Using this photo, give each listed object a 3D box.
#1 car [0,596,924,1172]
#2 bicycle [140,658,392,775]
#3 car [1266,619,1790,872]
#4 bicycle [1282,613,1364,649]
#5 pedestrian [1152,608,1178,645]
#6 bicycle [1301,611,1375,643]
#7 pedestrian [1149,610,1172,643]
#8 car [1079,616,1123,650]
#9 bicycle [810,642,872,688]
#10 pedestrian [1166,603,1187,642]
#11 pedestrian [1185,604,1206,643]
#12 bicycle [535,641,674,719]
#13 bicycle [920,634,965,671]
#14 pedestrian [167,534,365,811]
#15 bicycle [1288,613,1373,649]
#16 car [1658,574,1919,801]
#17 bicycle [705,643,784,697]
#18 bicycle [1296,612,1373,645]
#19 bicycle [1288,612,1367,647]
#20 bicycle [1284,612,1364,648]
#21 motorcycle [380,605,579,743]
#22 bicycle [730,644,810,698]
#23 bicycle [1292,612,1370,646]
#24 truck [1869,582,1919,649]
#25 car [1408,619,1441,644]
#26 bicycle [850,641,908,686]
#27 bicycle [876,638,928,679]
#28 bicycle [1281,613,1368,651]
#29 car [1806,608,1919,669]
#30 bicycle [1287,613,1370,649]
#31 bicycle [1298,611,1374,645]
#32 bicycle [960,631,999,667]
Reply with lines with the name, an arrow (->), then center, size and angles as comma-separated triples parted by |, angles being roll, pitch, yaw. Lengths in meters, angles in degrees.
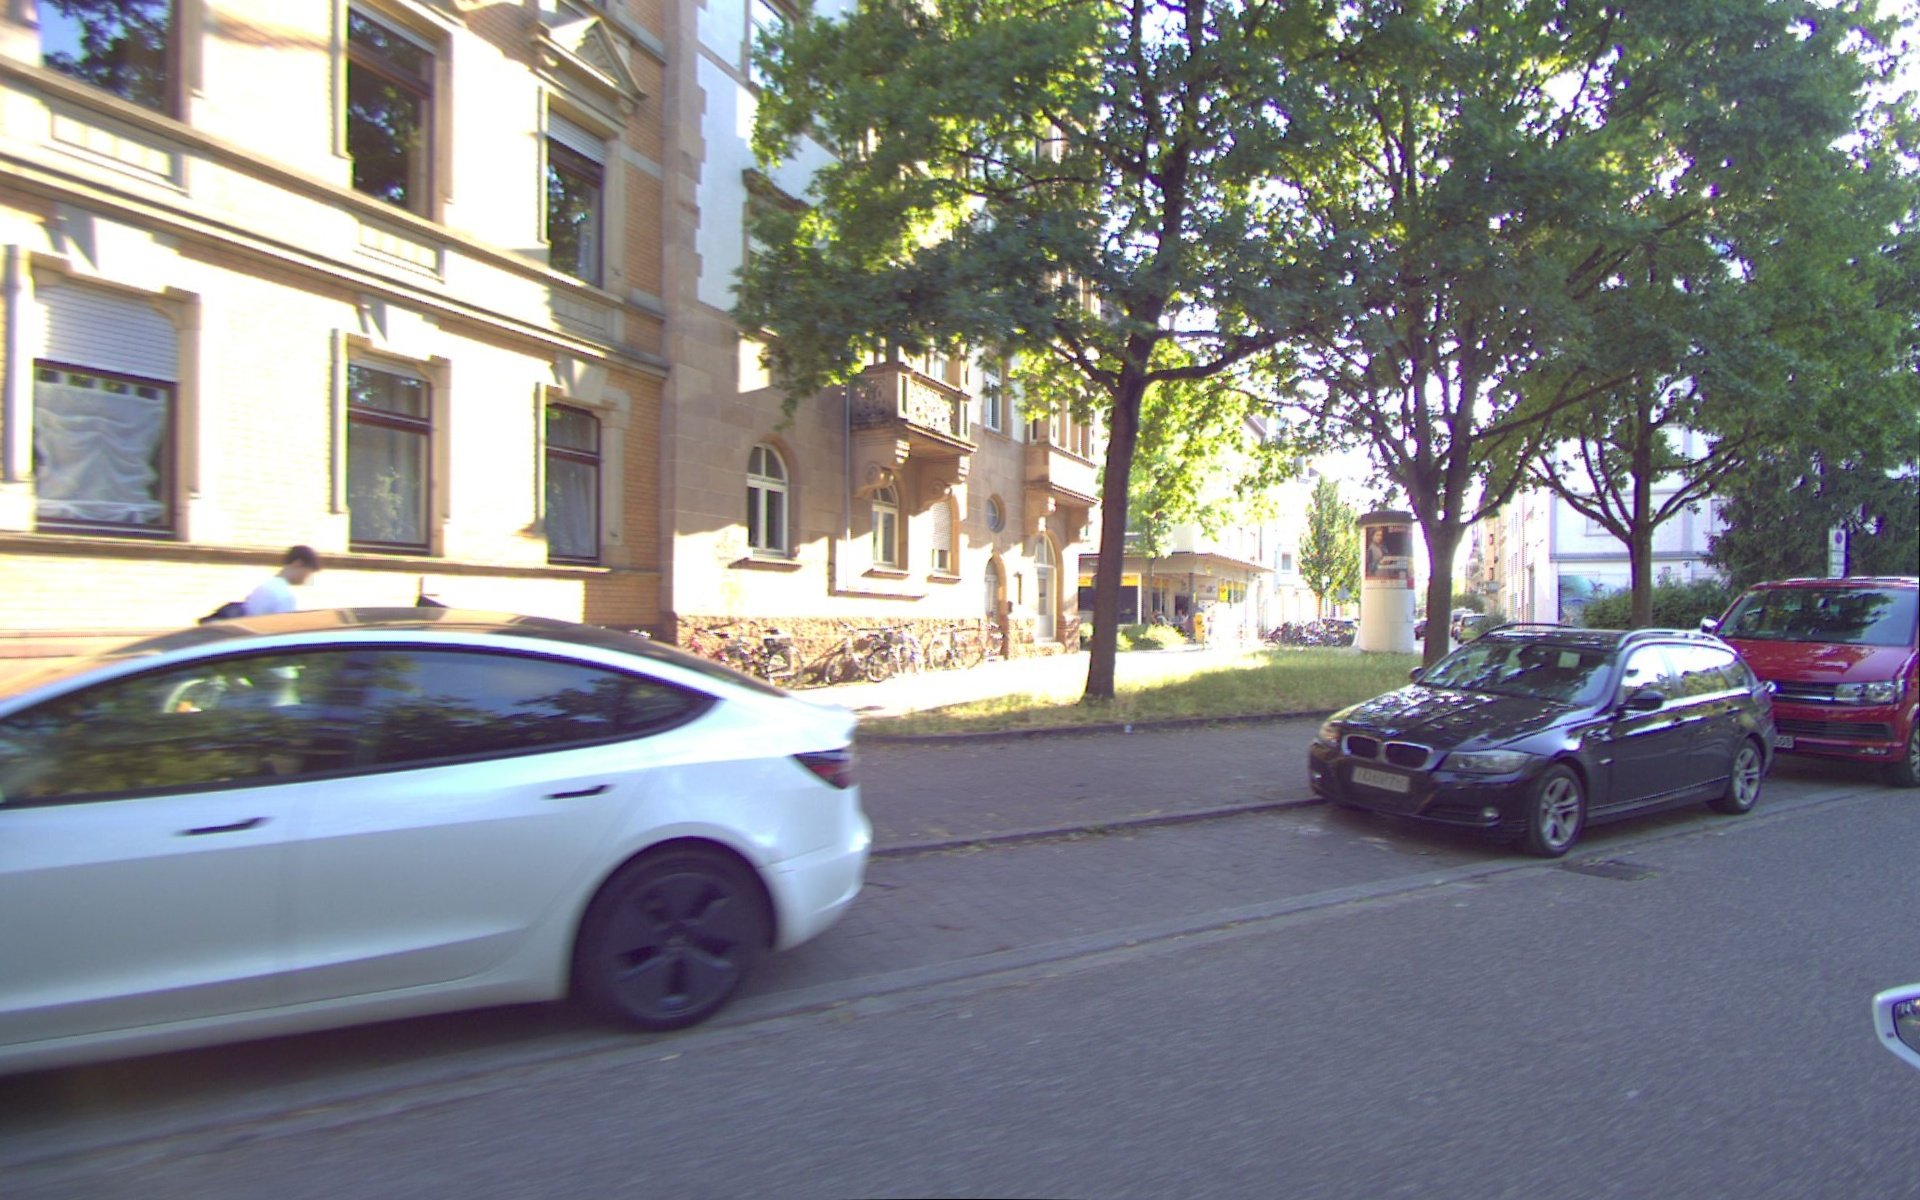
car -> -2.414, 0.762, 3.735 | 4.217, 1.495, 1.769 | 1, 1, -28
bicycle -> -6.241, 1.008, 9.169 | 0.515, 0.859, 1.897 | -1, 0, 24
car -> 4.567, 0.914, 7.919 | 4.222, 1.453, 1.767 | 1, 1, -32
bicycle -> 16.226, 1.363, 45.001 | 3.318, 1.464, 0.880 | 2, 0, 29
pedestrian -> 9.692, 1.242, 47.498 | 0.946, 1.688, 1.214 | 0, -1, 27
bicycle -> 18.793, 1.339, 49.998 | 3.318, 1.464, 0.880 | 2, 0, 29
pedestrian -> 9.761, 1.277, 48.796 | 0.875, 1.590, 0.963 | 0, -1, 27
car -> 6.203, 1.398, 43.909 | 1.835, 1.418, 4.003 | 0, -1, 9
bicycle -> -2.075, 1.127, 17.675 | 0.362, 0.742, 1.509 | 0, -1, 24
pedestrian -> 10.698, 1.114, 49.672 | 0.836, 1.900, 0.890 | 0, -1, 26
pedestrian -> 11.590, 1.139, 49.358 | 0.836, 1.900, 0.890 | 0, -1, 26
bicycle -> -4.518, 0.993, 12.925 | 0.515, 0.859, 1.897 | -1, 0, 24
bicycle -> -0.370, 1.130, 21.930 | 0.362, 0.742, 1.509 | 0, -1, 24
pedestrian -> -4.678, 0.450, 6.827 | 0.662, 1.741, 0.912 | 1, 1, 6
bicycle -> 15.776, 1.306, 42.813 | 3.319, 1.464, 0.880 | 1, 0, 29
car -> 9.582, 0.758, 10.665 | 4.717, 1.960, 1.767 | 1, 1, -31
bicycle -> -3.276, 1.055, 15.416 | 0.362, 0.742, 1.509 | 0, -1, 24
bicycle -> 17.976, 1.355, 48.257 | 3.318, 1.464, 0.880 | 2, 0, 29
bicycle -> 17.057, 1.358, 46.623 | 3.318, 1.464, 0.880 | 2, 0, 29
bicycle -> 16.615, 1.359, 45.879 | 3.318, 1.464, 0.880 | 2, 0, 29
motorcycle -> -5.198, 0.745, 11.010 | 0.795, 1.371, 1.897 | -1, 0, 25
bicycle -> -2.871, 1.060, 15.336 | 0.407, 0.742, 1.509 | 0, -1, 24
bicycle -> 17.517, 1.357, 47.422 | 3.318, 1.464, 0.880 | 2, 0, 29
truck -> 38.296, 0.606, 38.395 | 4.879, 2.568, 1.998 | 0, -1, 26
car -> 34.605, 2.319, 74.782 | 1.964, 1.808, 3.994 | -1, -1, 28
bicycle -> -1.450, 1.136, 18.132 | 0.362, 0.742, 1.509 | 0, -1, 24
bicycle -> -1.122, 1.136, 19.766 | 0.362, 0.742, 1.509 | 0, -1, 24
bicycle -> 15.098, 1.309, 41.655 | 3.319, 1.464, 0.880 | 1, 0, 29
car -> 24.338, 0.953, 25.276 | 1.898, 1.470, 4.267 | 0, -1, -27
bicycle -> 16.081, 1.332, 43.882 | 3.319, 1.464, 0.880 | 1, 0, 29
bicycle -> 18.373, 1.349, 49.124 | 3.318, 1.464, 0.880 | 2, 0, 29
bicycle -> 0.465, 1.134, 23.490 | 0.362, 0.742, 1.509 | 0, 1, 24
